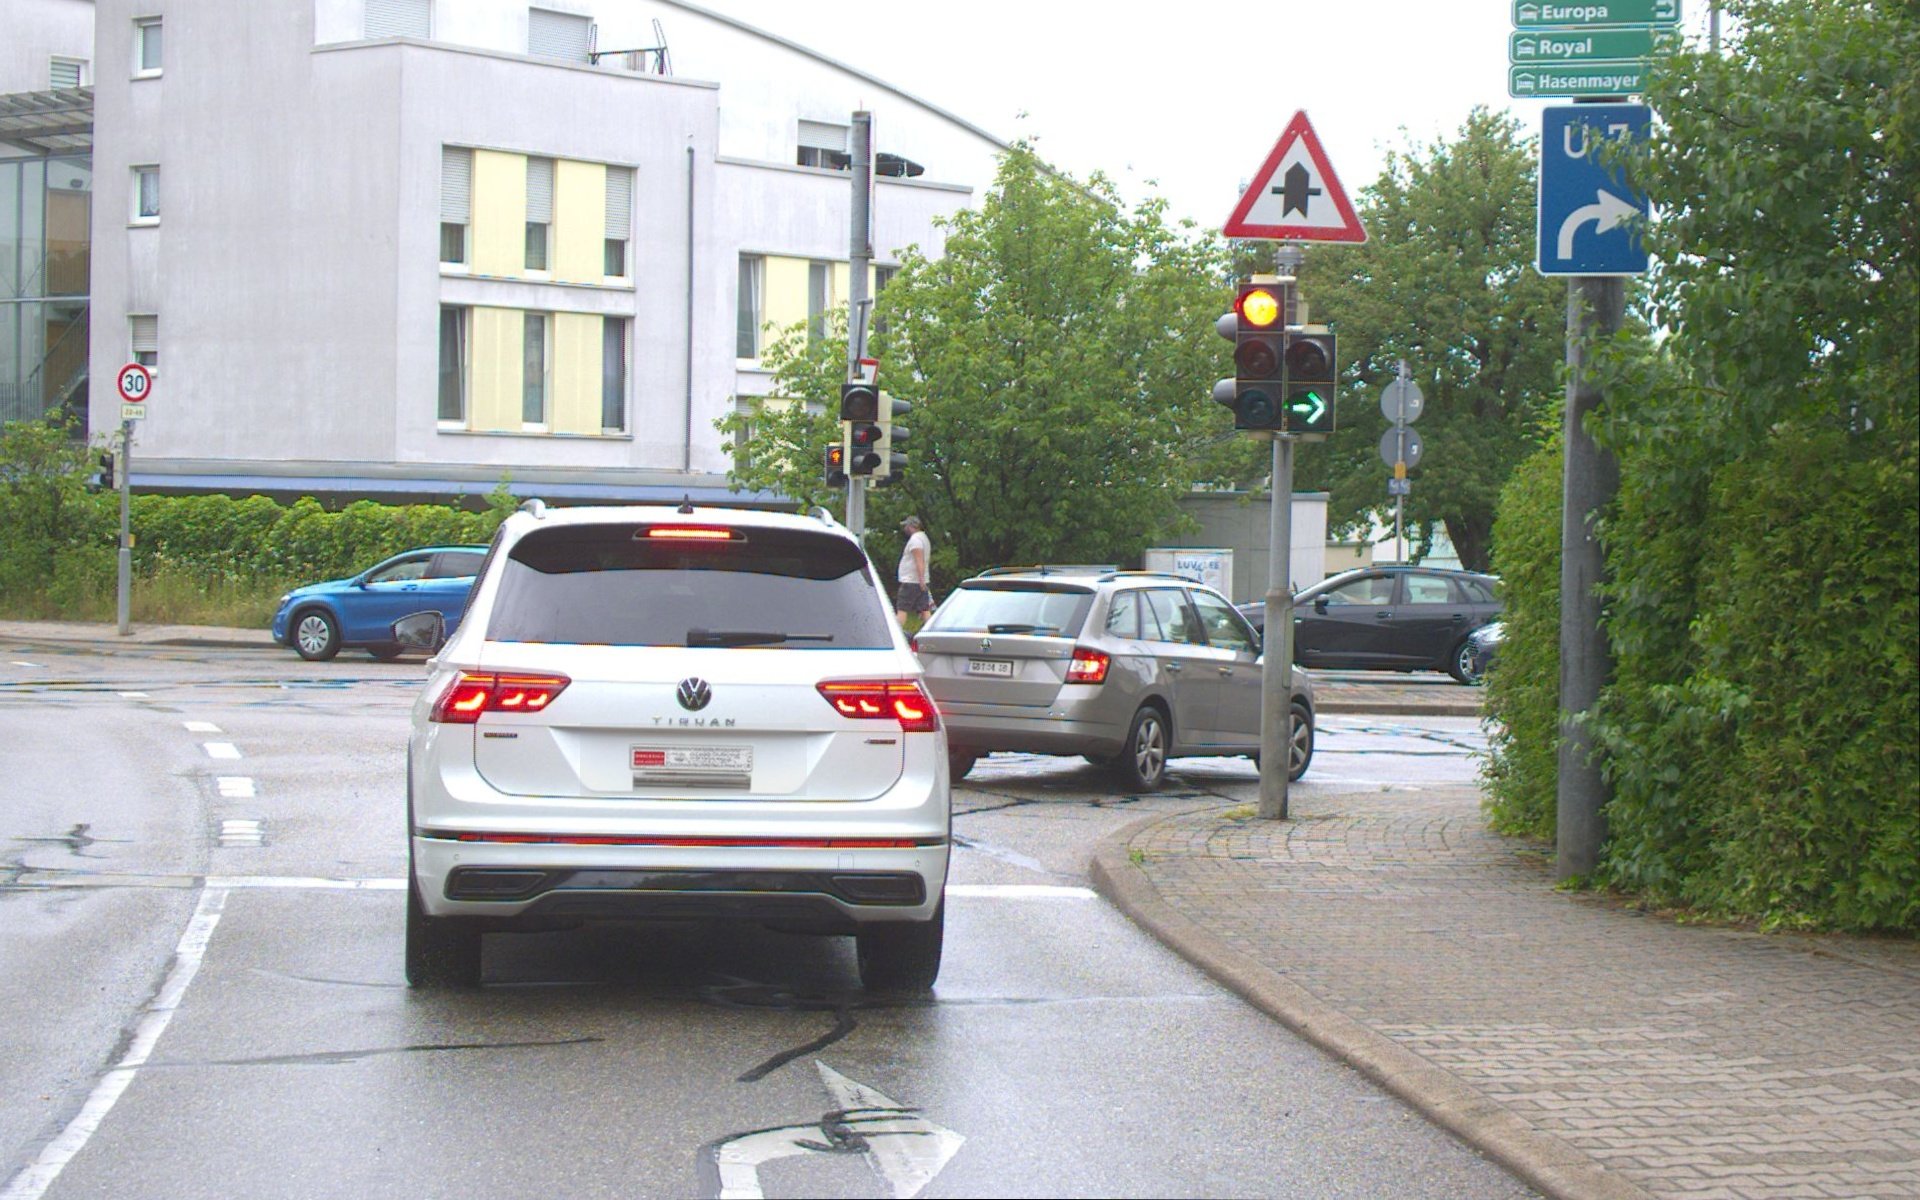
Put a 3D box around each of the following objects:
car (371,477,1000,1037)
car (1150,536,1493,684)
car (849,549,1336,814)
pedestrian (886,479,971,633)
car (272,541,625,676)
[{"bbox_3d":[-1.132,0.478,12.859,1.920,1.716,4.266,1,0,-8],"label":"car"},{"bbox_3d":[4.351,0.105,41.893,3.987,1.546,2.000,2,4,2],"label":"car"},{"bbox_3d":[1.024,0.492,24.213,1.768,1.504,3.994,5,4,28],"label":"car"},{"bbox_3d":[-0.417,-0.600,46.116,0.800,2.006,0.849,3,3,25],"label":"pedestrian"},{"bbox_3d":[-6.506,0.077,43.753,3.992,1.550,1.998,2,2,23],"label":"car"}]
